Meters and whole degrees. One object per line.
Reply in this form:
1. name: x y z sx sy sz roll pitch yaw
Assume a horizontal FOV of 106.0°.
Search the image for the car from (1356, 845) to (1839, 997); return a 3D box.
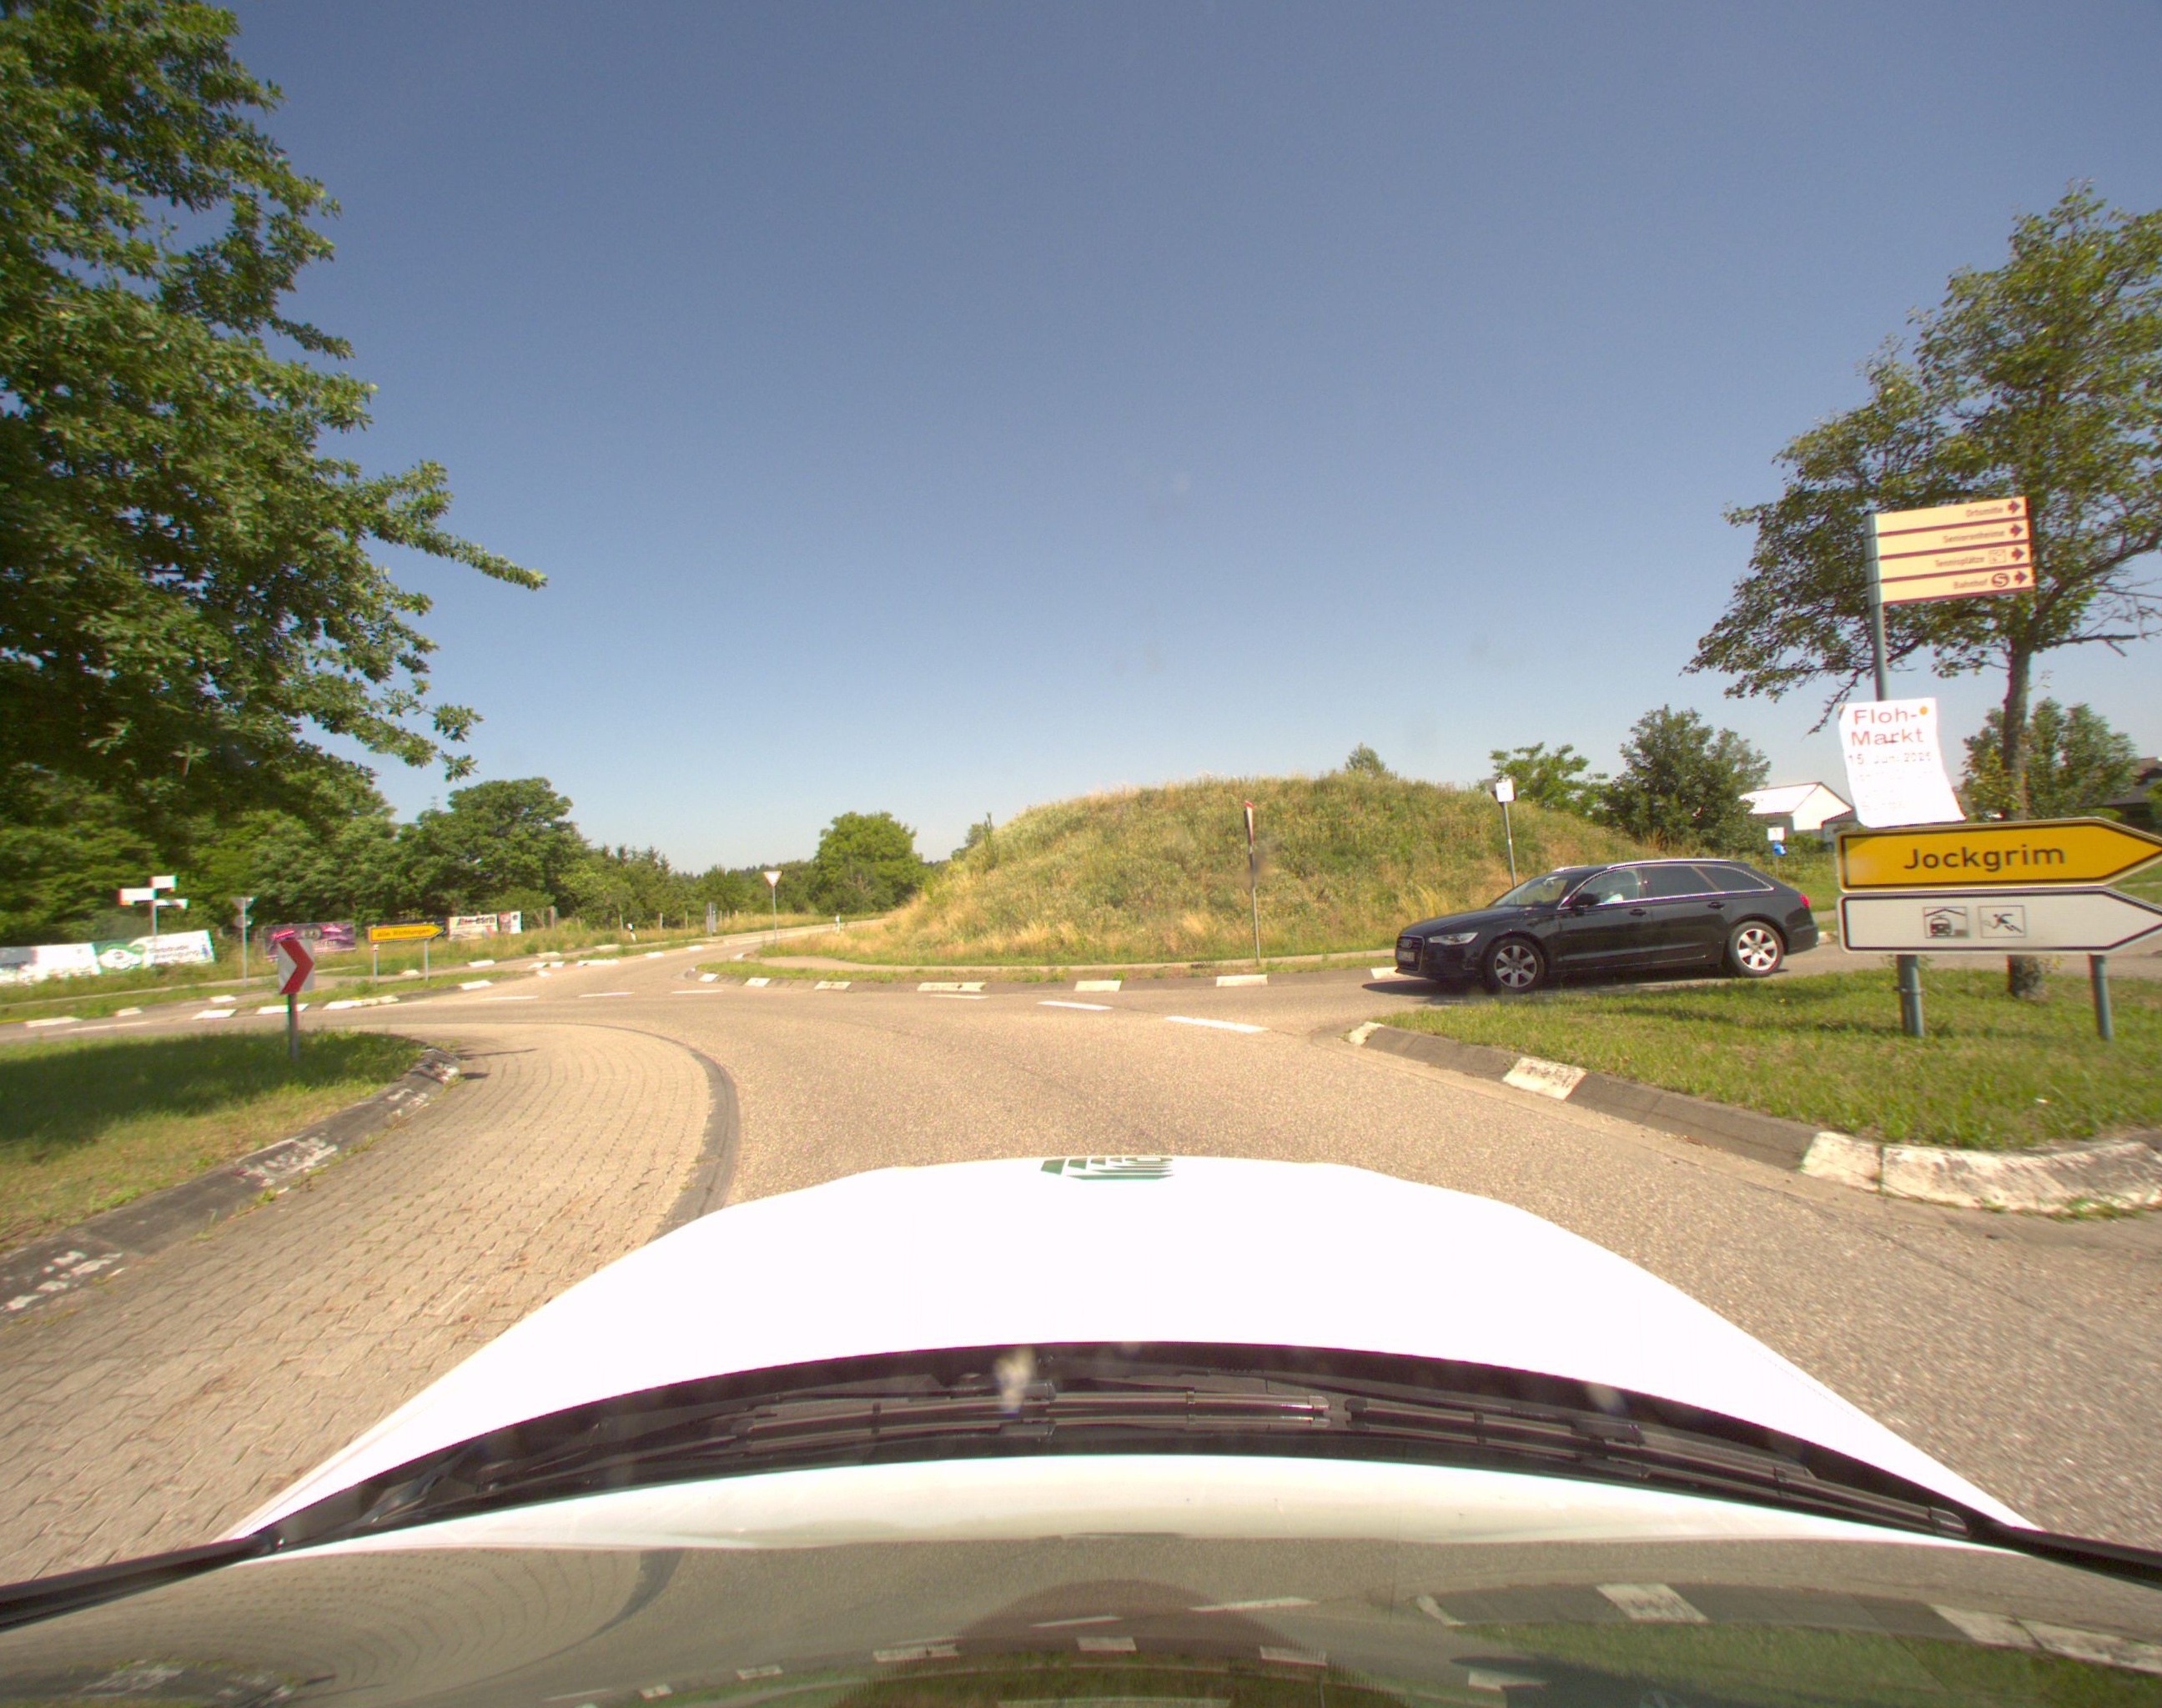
1. car: 6.287 0.822 10.319 4.886 1.434 1.921 -3 -4 -4
